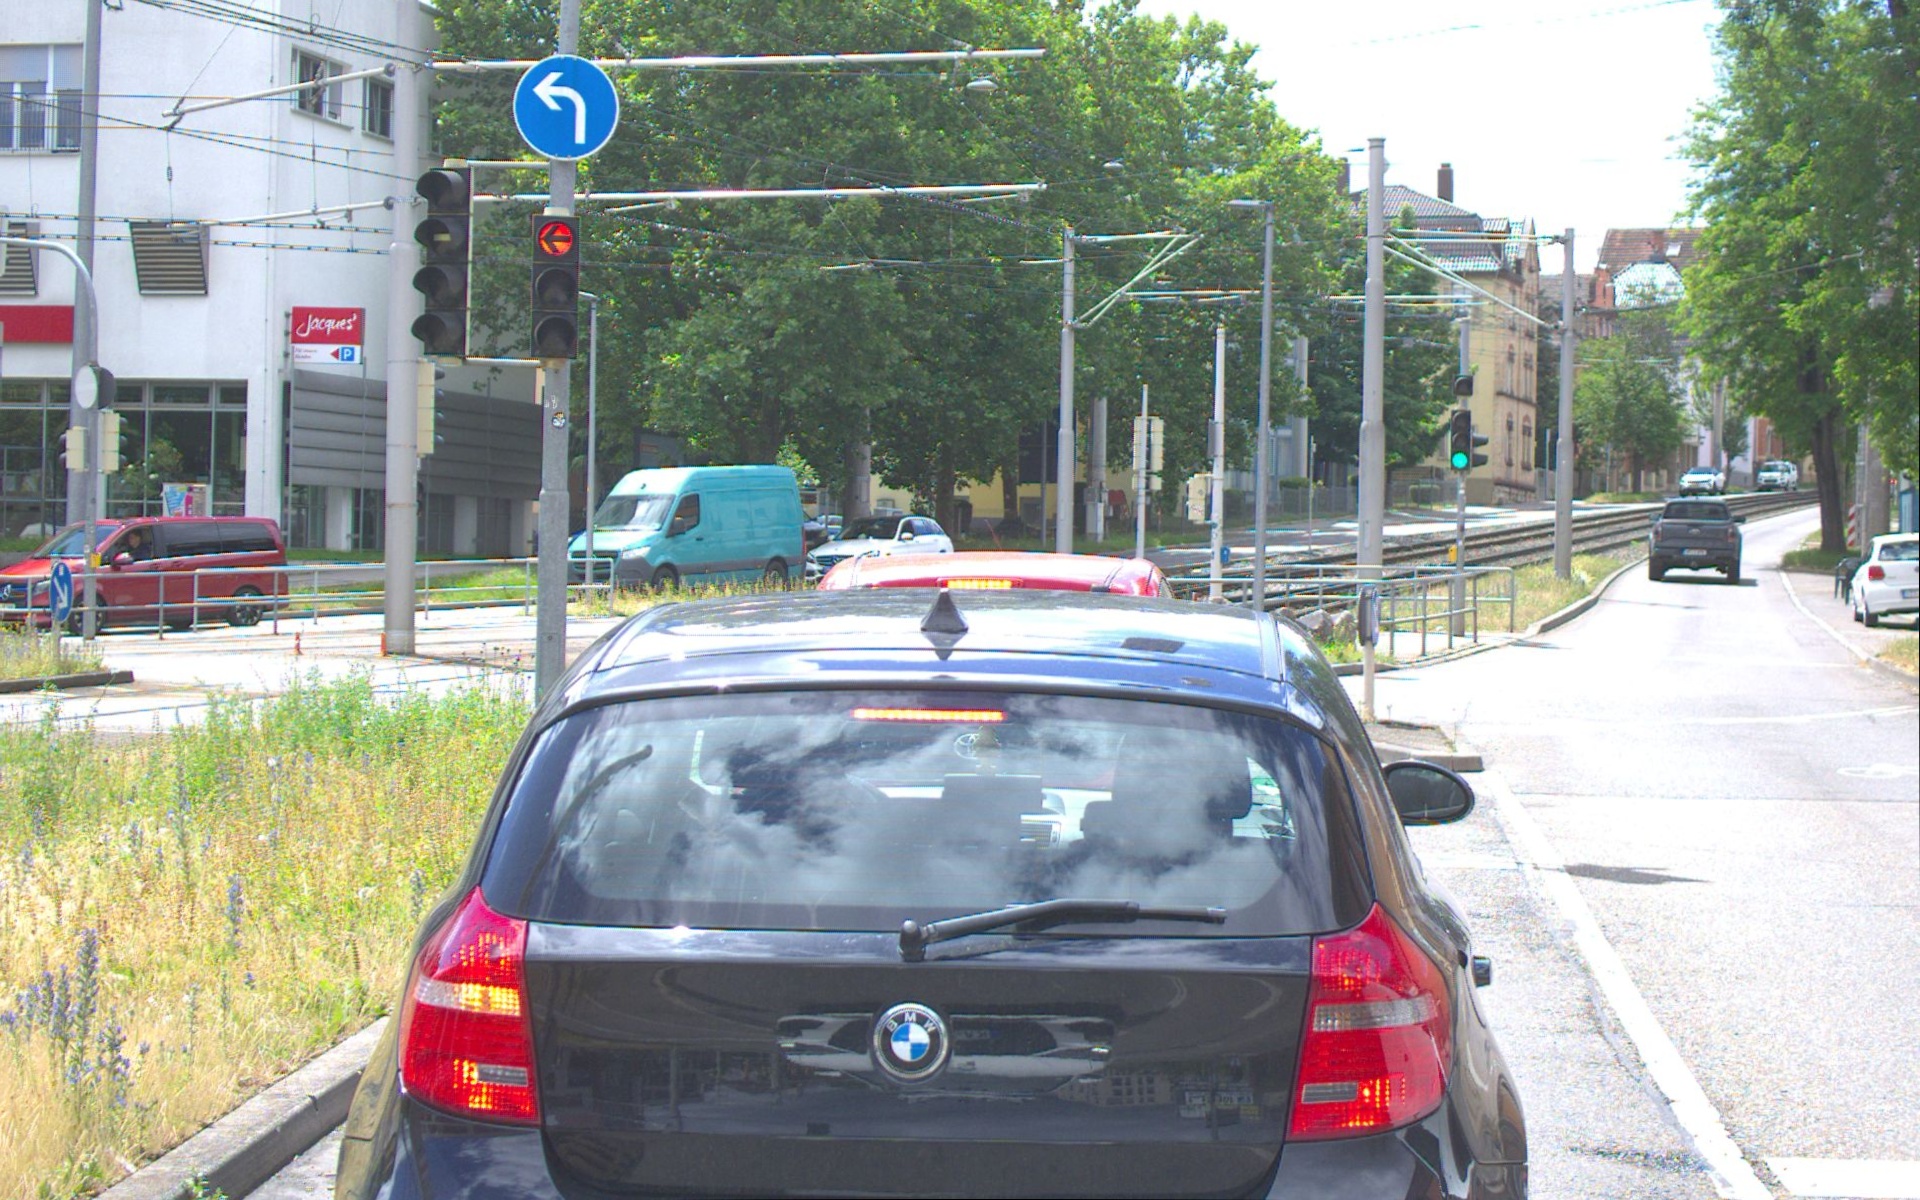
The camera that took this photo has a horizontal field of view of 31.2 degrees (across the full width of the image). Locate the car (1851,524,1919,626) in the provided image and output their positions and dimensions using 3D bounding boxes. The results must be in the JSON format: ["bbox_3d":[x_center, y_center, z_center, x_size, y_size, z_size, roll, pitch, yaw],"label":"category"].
[{"bbox_3d":[15.478,-0.405,55.887,1.788,1.590,3.998,0,0,13],"label":"car"}]

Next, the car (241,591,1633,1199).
[{"bbox_3d":[-0.115,0.714,6.210,1.701,1.447,4.000,0,0,-3],"label":"car"}]

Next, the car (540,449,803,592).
[{"bbox_3d":[-5.540,-1.502,66.865,2.134,2.645,5.680,0,0,31],"label":"car"}]

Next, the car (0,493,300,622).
[{"bbox_3d":[-13.166,-0.668,55.725,1.857,2.002,4.787,0,0,38],"label":"car"}]

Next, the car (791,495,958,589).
[{"bbox_3d":[-1.779,-1.203,73.393,1.855,1.921,4.792,0,0,21],"label":"car"}]

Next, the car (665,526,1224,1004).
[{"bbox_3d":[0.099,0.505,12.639,1.625,1.468,3.999,0,0,6],"label":"car"}]

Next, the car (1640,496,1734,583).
[{"bbox_3d":[16.456,-1.340,77.804,2.000,1.880,5.147,0,0,12],"label":"car"}]

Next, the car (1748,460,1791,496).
[{"bbox_3d":[48.761,-7.355,207.027,1.996,2.007,3.996,0,0,21],"label":"car"}]

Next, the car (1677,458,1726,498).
[{"bbox_3d":[40.525,-6.652,187.730,1.996,2.007,3.996,0,0,21],"label":"car"}]
